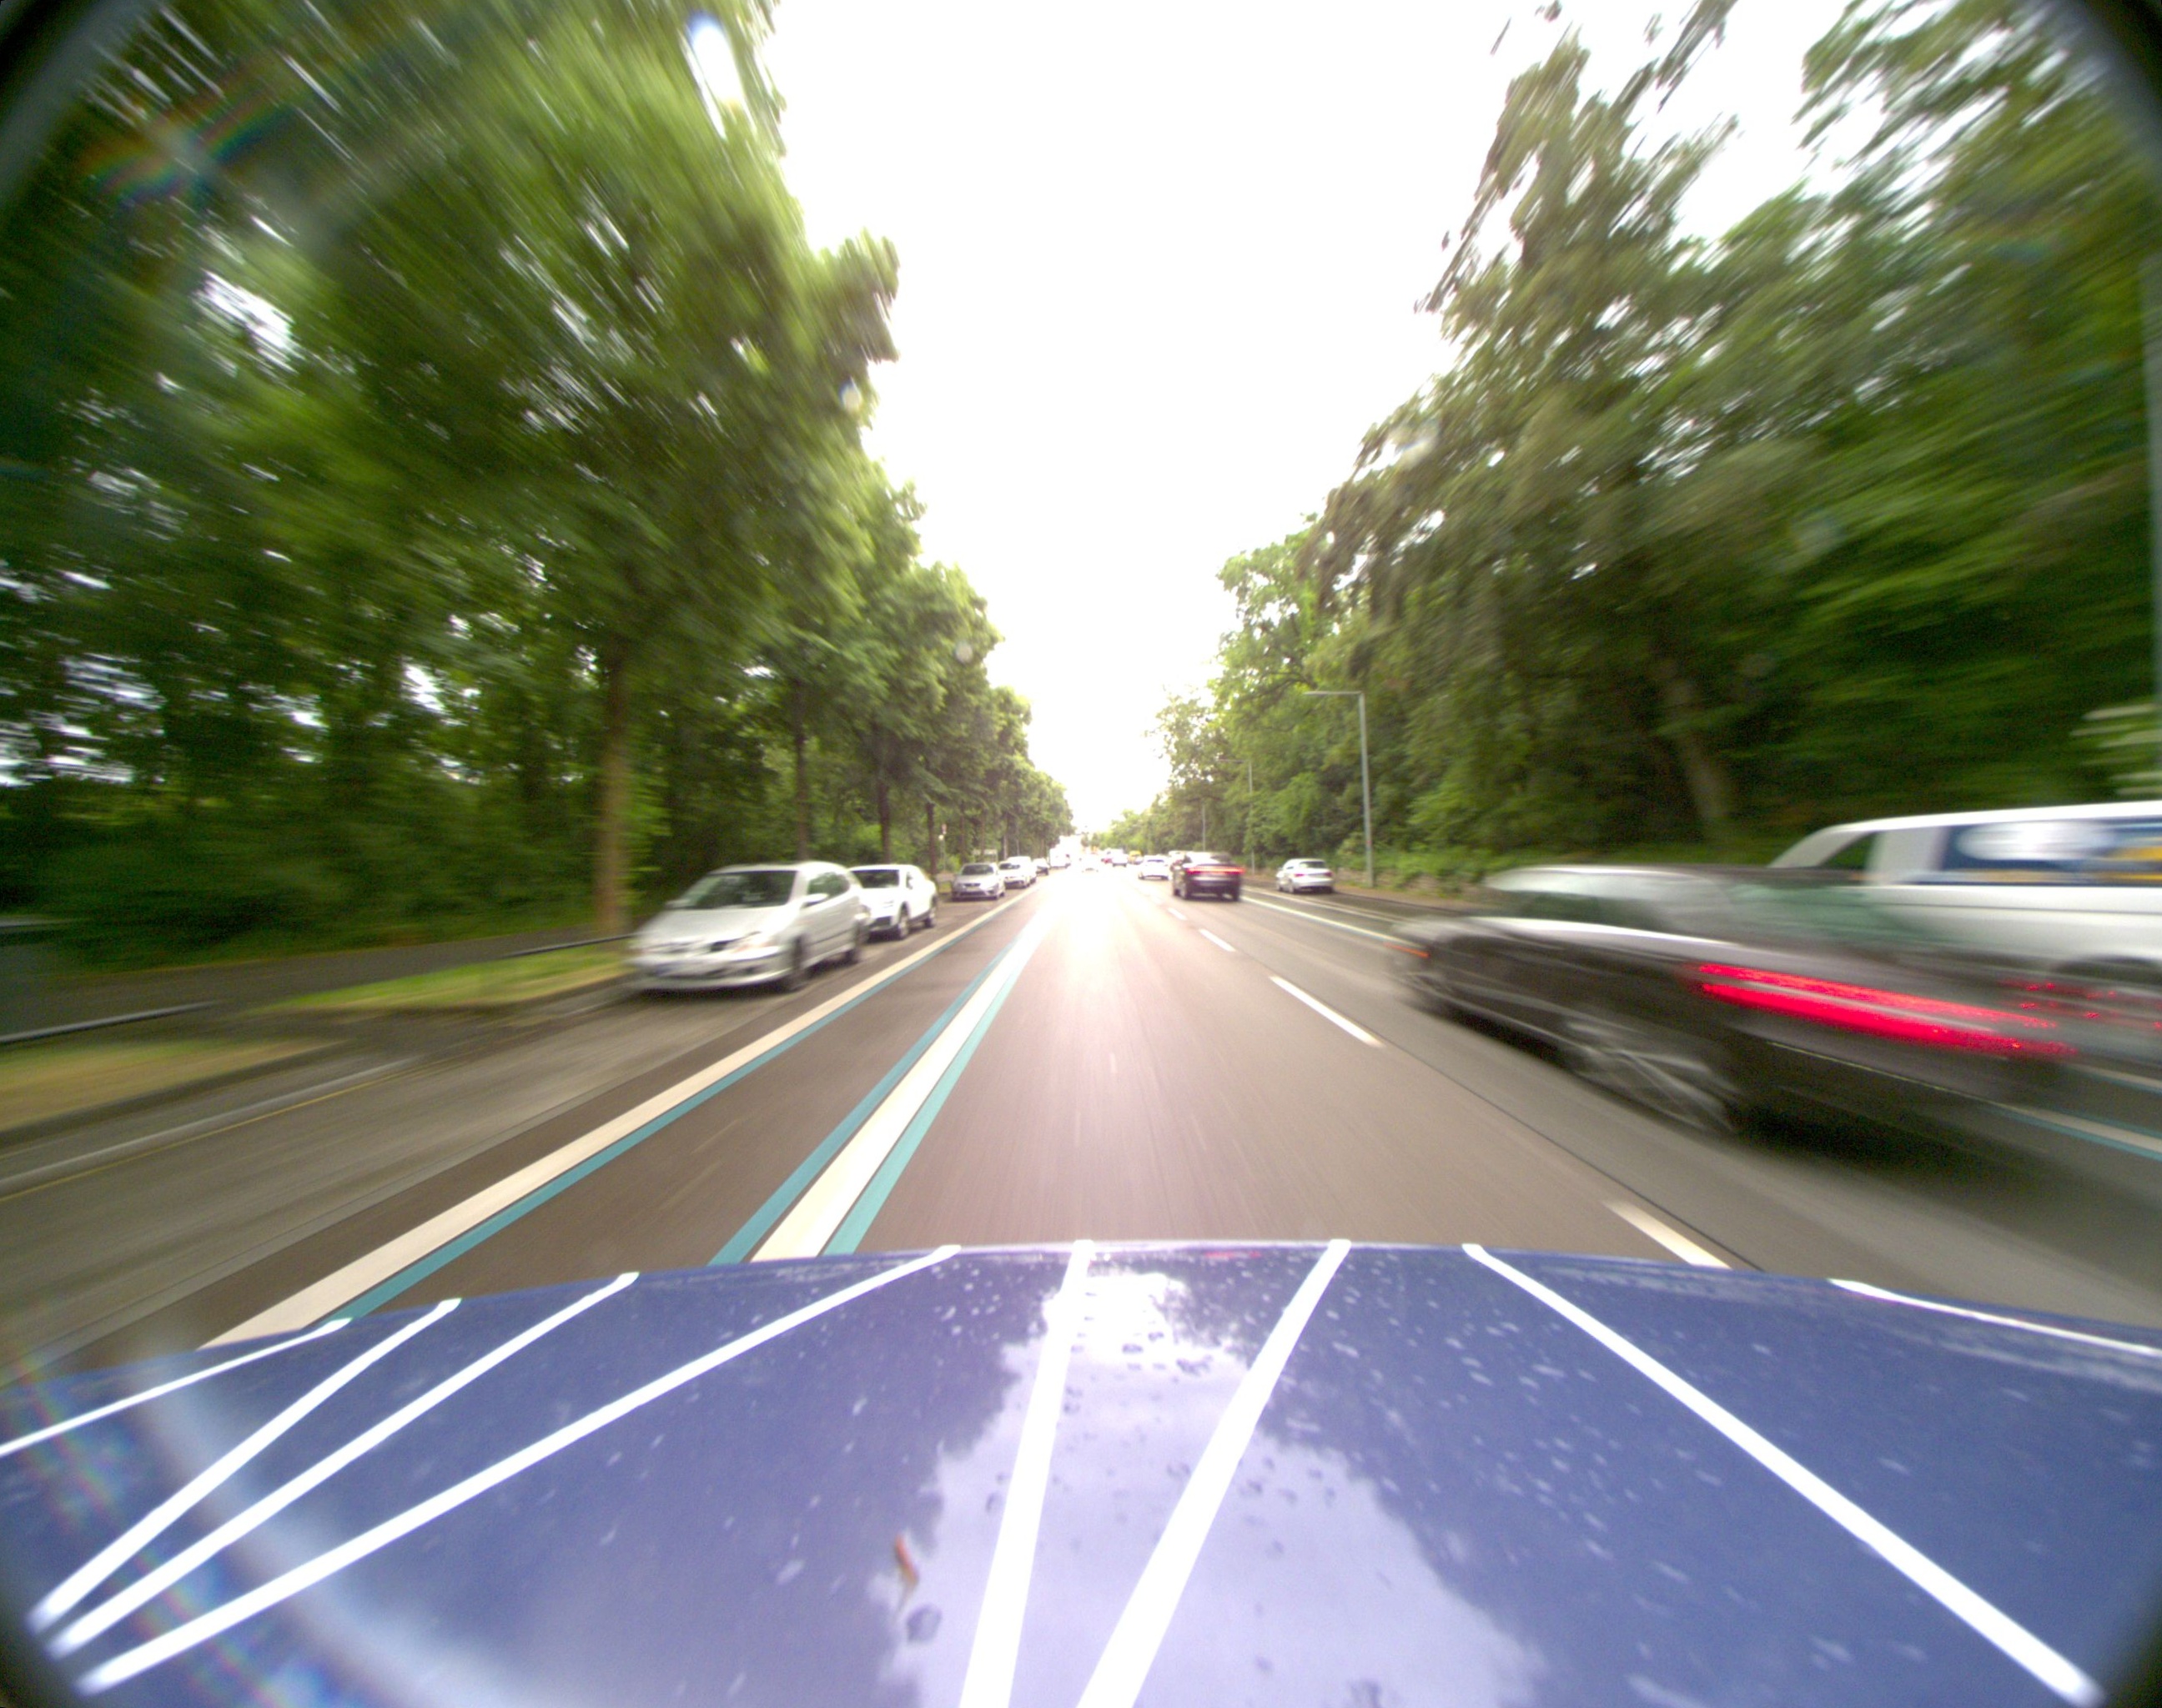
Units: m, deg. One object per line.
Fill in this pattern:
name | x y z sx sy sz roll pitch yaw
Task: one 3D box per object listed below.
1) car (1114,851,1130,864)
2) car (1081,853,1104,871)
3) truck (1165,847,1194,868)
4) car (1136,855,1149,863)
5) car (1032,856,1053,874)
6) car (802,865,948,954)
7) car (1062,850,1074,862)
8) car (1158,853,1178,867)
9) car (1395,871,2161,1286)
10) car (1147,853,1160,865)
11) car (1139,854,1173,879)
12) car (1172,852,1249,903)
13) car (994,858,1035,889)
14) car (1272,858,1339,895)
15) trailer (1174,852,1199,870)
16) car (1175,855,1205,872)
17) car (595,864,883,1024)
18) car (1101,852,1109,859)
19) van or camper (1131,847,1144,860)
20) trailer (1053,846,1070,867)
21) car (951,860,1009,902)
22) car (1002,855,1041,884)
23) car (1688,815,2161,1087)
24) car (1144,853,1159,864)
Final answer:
car | 5.470 0.445 102.642 1.958 1.629 4.445 1 0 1
car | 1.101 0.714 72.338 1.998 1.589 4.000 -2 0 1
truck | 9.982 0.314 77.316 2.099 2.002 5.158 -1 0 -2
car | 10.128 0.795 125.656 1.825 1.285 4.206 -1 0 1
car | -3.330 0.945 66.124 1.700 1.468 3.997 -1 0 -1
car | -4.231 1.068 16.360 1.702 1.504 4.470 -2 0 2
car | -2.488 0.374 142.955 1.998 2.231 4.000 -2 1 1
car | 9.946 0.712 87.390 1.811 1.489 4.753 0 1 1
car | 4.043 0.910 5.185 1.920 1.448 4.620 1 0 1
car | 10.030 0.670 105.389 1.527 1.584 2.860 0 0 0
car | 4.725 0.760 48.341 1.780 1.457 4.063 1 0 1
car | 4.451 0.746 26.725 1.966 1.608 4.466 1 0 1
car | -3.455 0.969 39.953 1.702 1.445 3.946 -2 0 0
car | 9.337 0.888 31.906 1.694 1.397 4.028 -2 0 2
trailer | 9.952 0.647 71.924 1.347 1.647 2.271 0 1 39
car | 9.492 0.811 66.722 1.826 1.390 4.444 -1 0 -2
car | -4.280 1.002 10.512 1.757 1.587 4.740 -2 0 0
car | 5.934 0.369 186.376 1.769 1.449 4.496 -1 0 1
van or camper | 11.192 -0.151 150.980 2.165 2.437 4.436 -1 0 1
trailer | -2.436 0.317 95.170 1.988 2.550 3.999 -2 0 -2
car | -3.893 1.013 29.924 1.702 1.445 4.097 -2 0 -1
car | -3.598 0.905 46.624 1.998 1.652 4.562 -1 0 0
car | 8.771 0.688 7.080 1.979 1.993 5.017 -2 0 -3
car | 10.154 0.642 109.892 1.819 1.579 3.992 -1 0 2
